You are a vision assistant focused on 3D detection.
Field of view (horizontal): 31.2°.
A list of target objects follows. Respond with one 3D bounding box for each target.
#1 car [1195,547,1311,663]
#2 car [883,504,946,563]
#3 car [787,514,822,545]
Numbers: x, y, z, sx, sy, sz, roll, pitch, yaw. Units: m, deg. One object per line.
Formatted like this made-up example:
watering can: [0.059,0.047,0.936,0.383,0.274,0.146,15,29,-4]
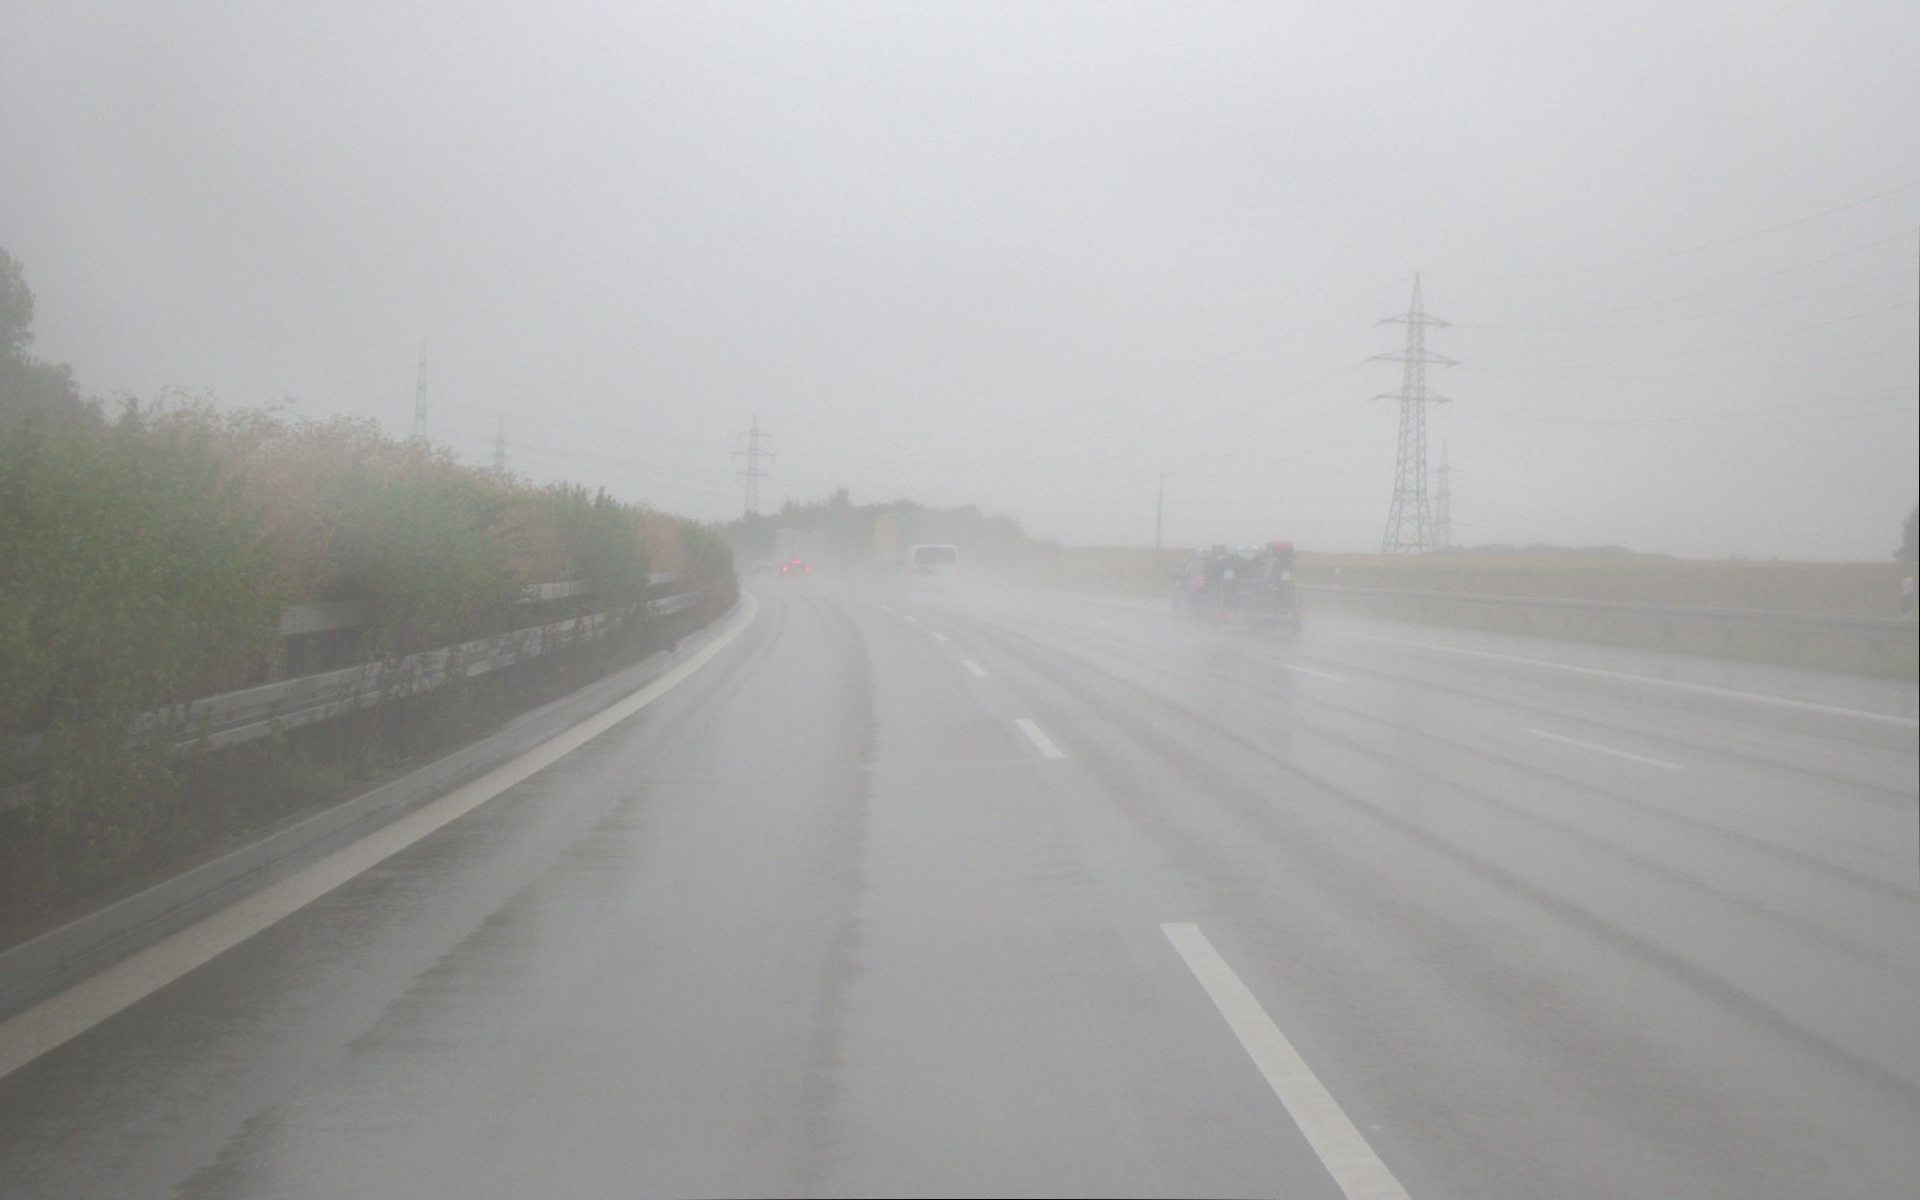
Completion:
car: [5.626,0.072,66.488,1.807,2.151,4.000,1,1,-1]
car: [-2.533,-3.638,189.105,3.199,3.182,7.257,1,1,-3]
car: [-11.847,-5.351,260.993,2.556,2.241,5.353,1,1,-3]
